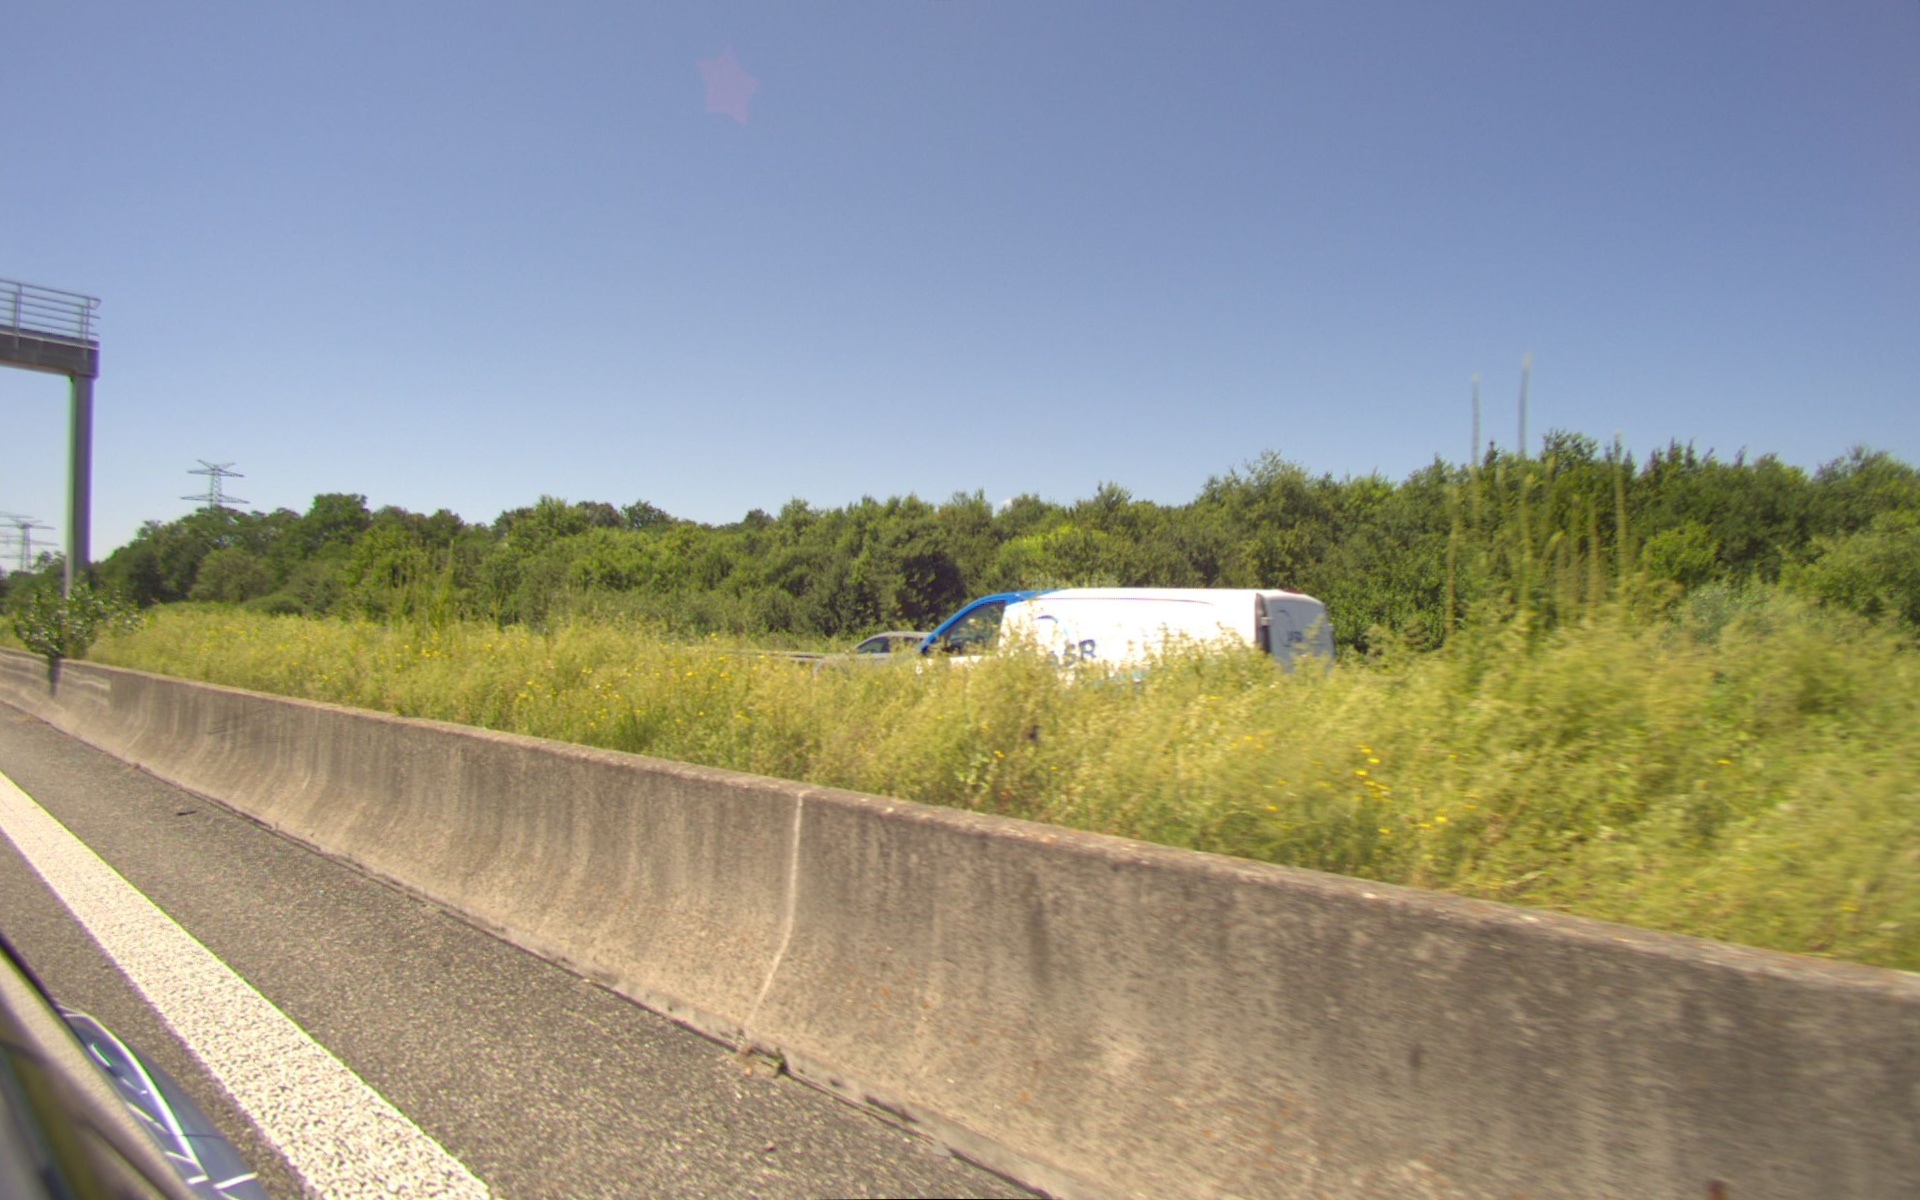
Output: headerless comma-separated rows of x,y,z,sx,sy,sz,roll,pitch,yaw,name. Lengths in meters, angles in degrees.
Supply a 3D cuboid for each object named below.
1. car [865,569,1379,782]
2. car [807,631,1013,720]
1.469,0.681,10.696,5.114,1.733,1.973,-1,-2,41,car
-1.170,1.570,22.361,4.460,1.689,1.941,-1,0,41,car
